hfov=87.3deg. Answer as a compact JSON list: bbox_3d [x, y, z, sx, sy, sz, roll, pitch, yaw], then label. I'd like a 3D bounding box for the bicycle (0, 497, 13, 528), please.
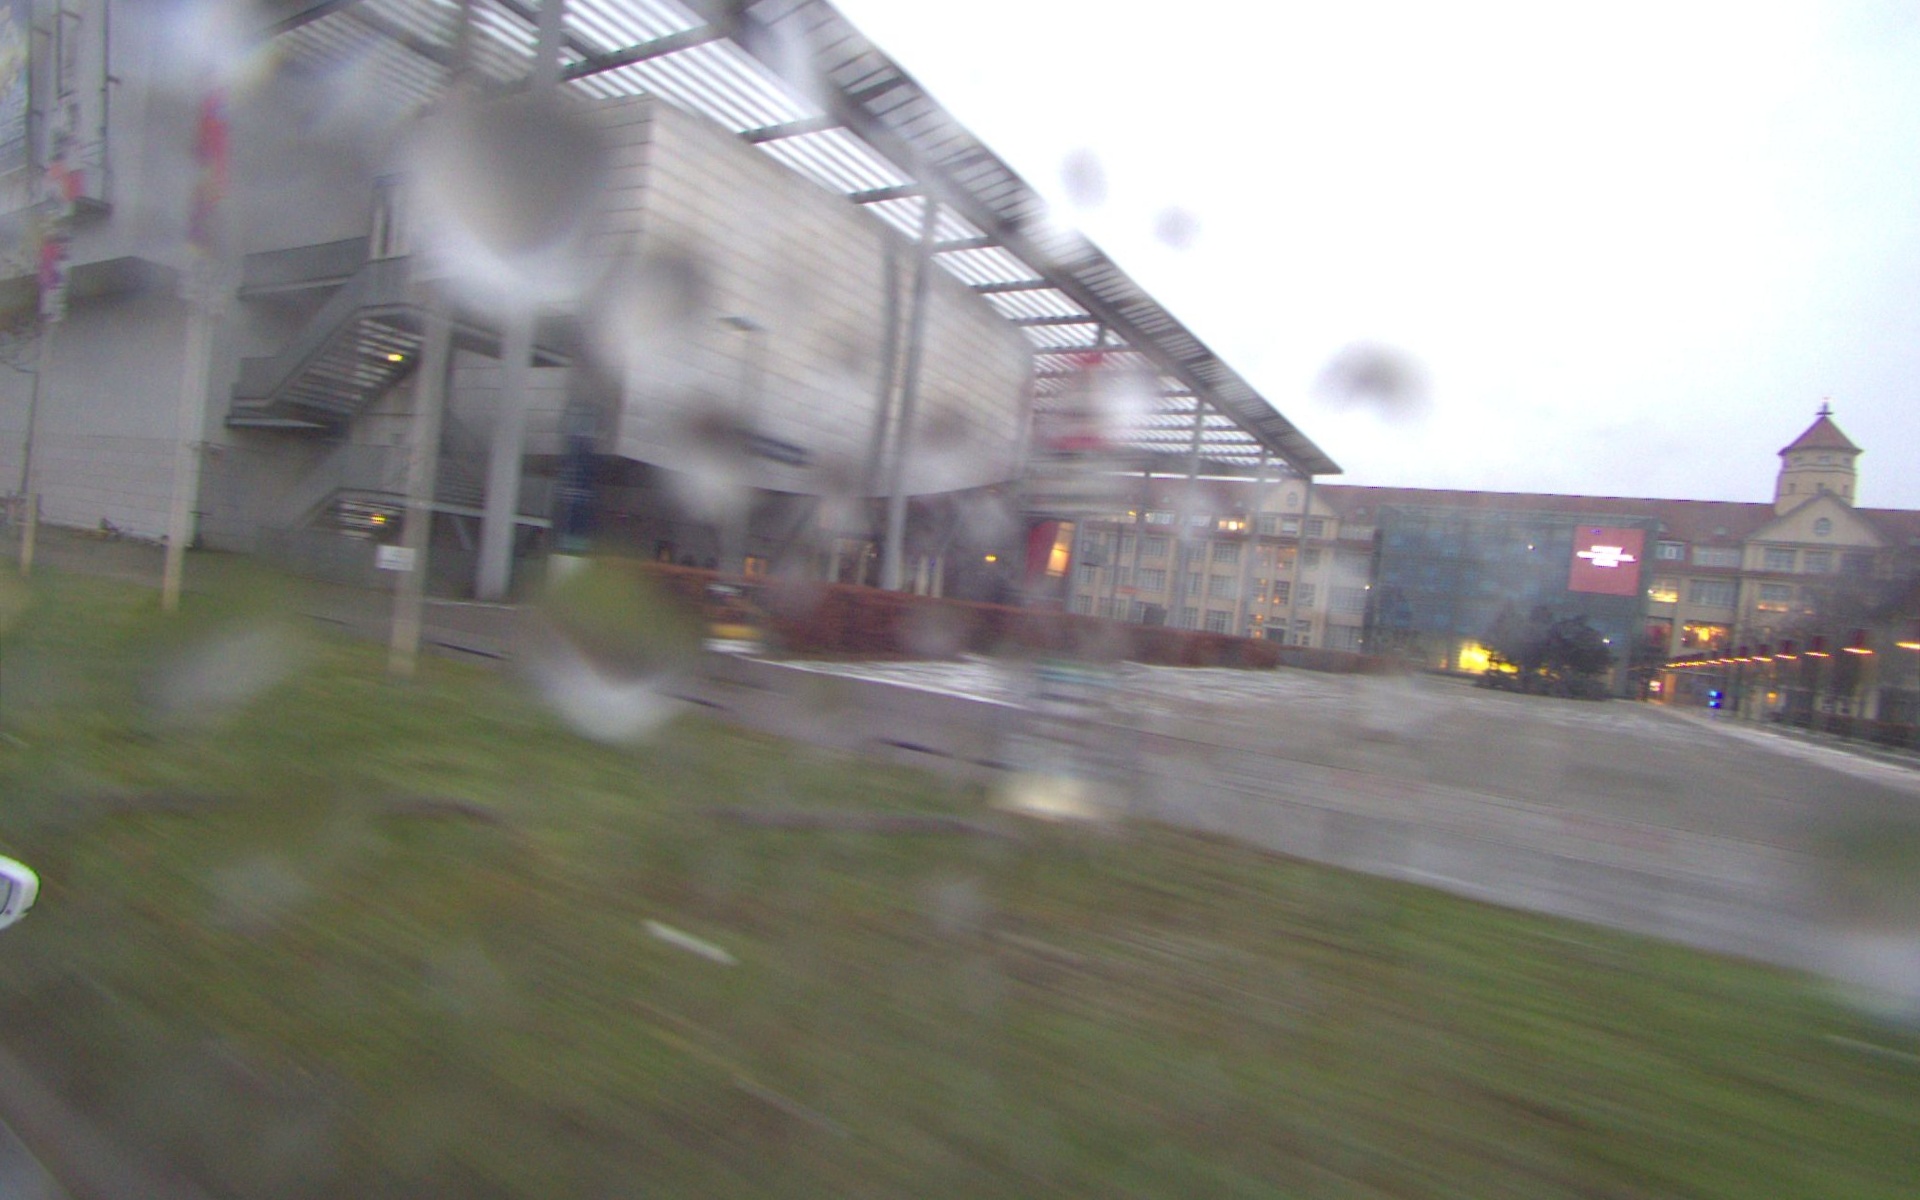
[{"bbox_3d":[-34.853,-3.201,35.648,0.390,1.065,1.811,7,1,30],"label":"bicycle"}]

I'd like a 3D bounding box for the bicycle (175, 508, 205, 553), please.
[{"bbox_3d":[-23.826,-2.130,31.146,0.407,1.299,1.730,8,-1,-31],"label":"bicycle"}]
